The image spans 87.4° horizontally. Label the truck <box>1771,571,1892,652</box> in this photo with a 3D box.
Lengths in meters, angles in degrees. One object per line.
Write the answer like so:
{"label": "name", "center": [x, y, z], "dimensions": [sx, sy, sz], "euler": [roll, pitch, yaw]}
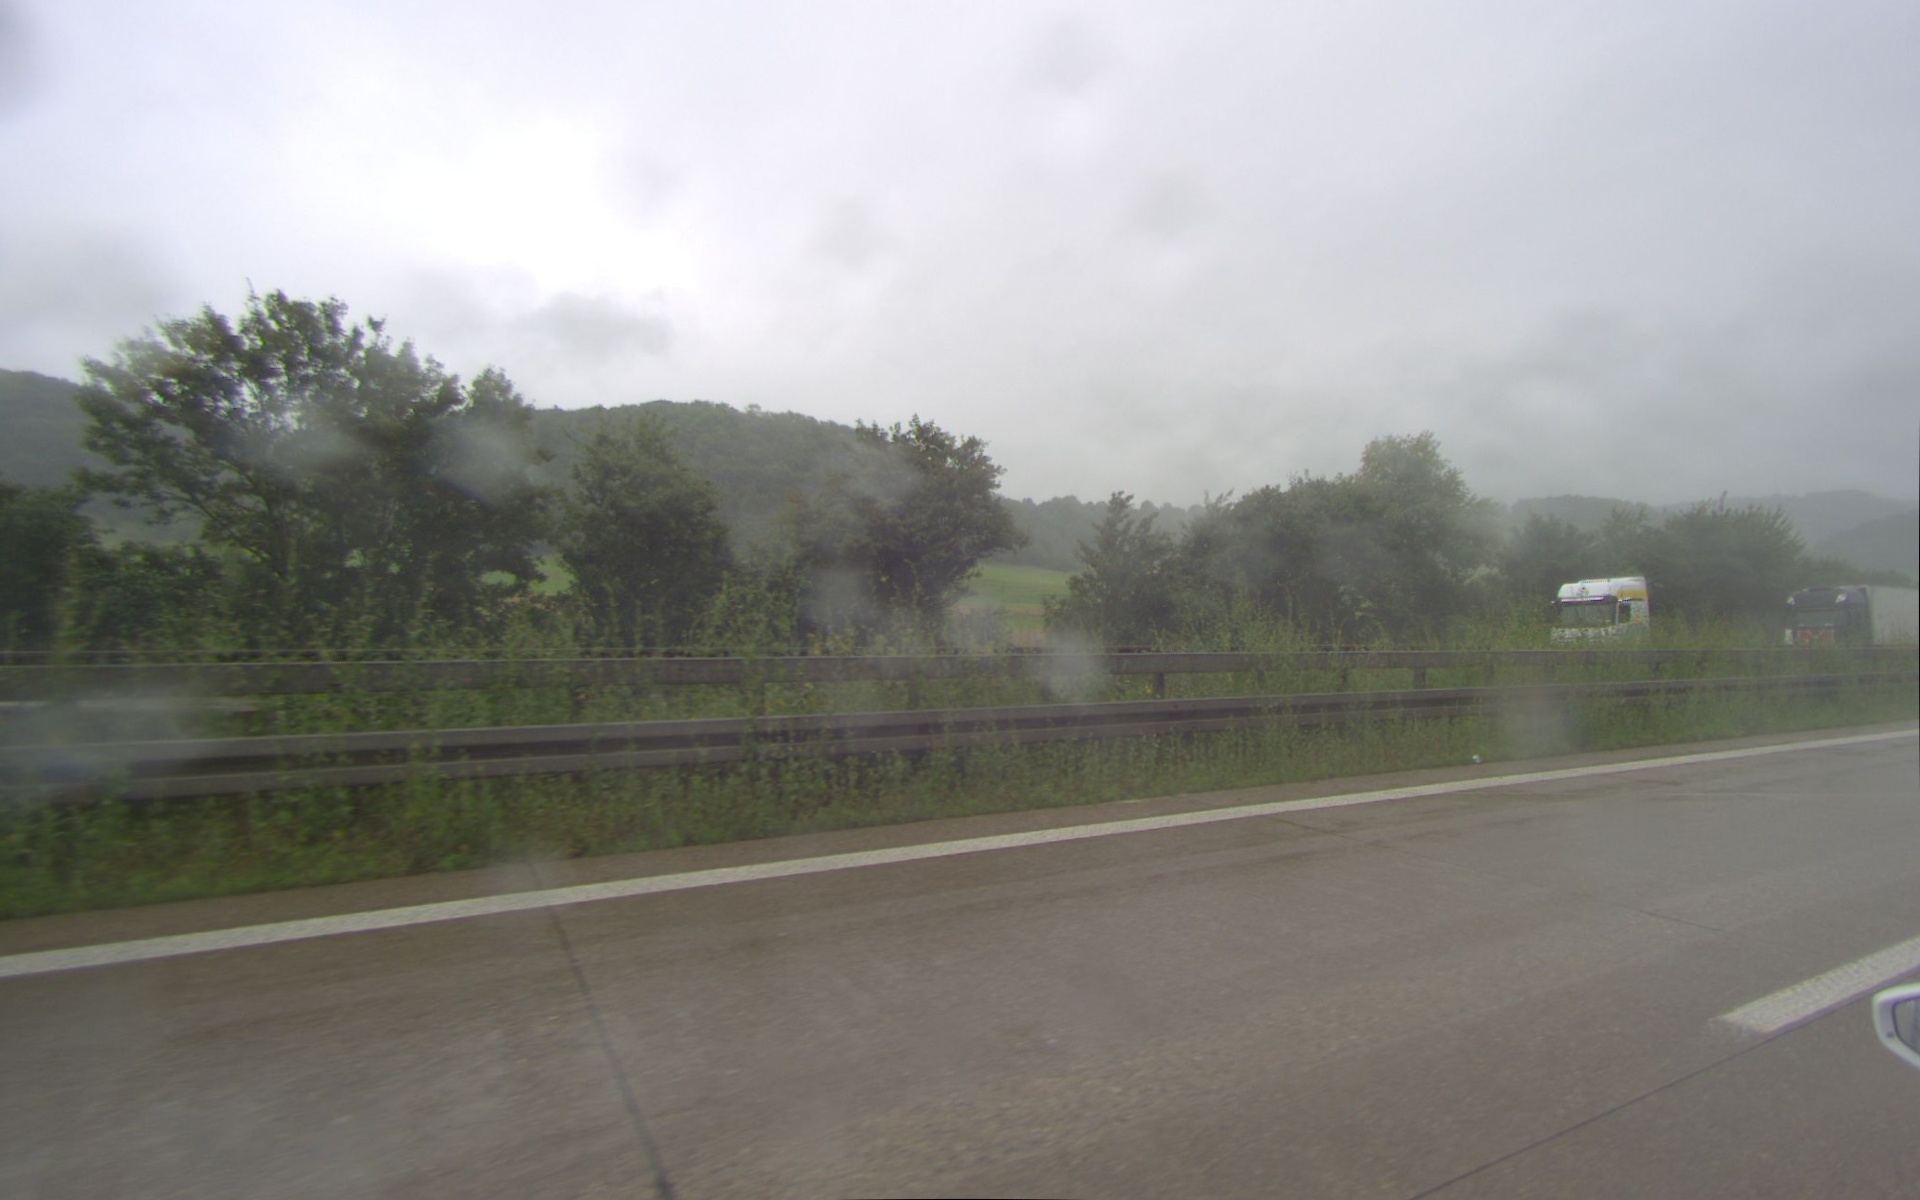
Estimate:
{"label": "truck", "center": [40.622, 0.559, 46.816], "dimensions": [5.669, 3.556, 2.798], "euler": [1, -1, -33]}

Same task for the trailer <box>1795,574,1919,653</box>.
{"label": "trailer", "center": [46.506, 0.773, 50.709], "dimensions": [13.563, 3.589, 2.835], "euler": [2, 0, -33]}

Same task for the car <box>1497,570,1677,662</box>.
{"label": "car", "center": [24.431, 0.638, 39.046], "dimensions": [7.512, 3.286, 2.785], "euler": [1, -1, -30]}
